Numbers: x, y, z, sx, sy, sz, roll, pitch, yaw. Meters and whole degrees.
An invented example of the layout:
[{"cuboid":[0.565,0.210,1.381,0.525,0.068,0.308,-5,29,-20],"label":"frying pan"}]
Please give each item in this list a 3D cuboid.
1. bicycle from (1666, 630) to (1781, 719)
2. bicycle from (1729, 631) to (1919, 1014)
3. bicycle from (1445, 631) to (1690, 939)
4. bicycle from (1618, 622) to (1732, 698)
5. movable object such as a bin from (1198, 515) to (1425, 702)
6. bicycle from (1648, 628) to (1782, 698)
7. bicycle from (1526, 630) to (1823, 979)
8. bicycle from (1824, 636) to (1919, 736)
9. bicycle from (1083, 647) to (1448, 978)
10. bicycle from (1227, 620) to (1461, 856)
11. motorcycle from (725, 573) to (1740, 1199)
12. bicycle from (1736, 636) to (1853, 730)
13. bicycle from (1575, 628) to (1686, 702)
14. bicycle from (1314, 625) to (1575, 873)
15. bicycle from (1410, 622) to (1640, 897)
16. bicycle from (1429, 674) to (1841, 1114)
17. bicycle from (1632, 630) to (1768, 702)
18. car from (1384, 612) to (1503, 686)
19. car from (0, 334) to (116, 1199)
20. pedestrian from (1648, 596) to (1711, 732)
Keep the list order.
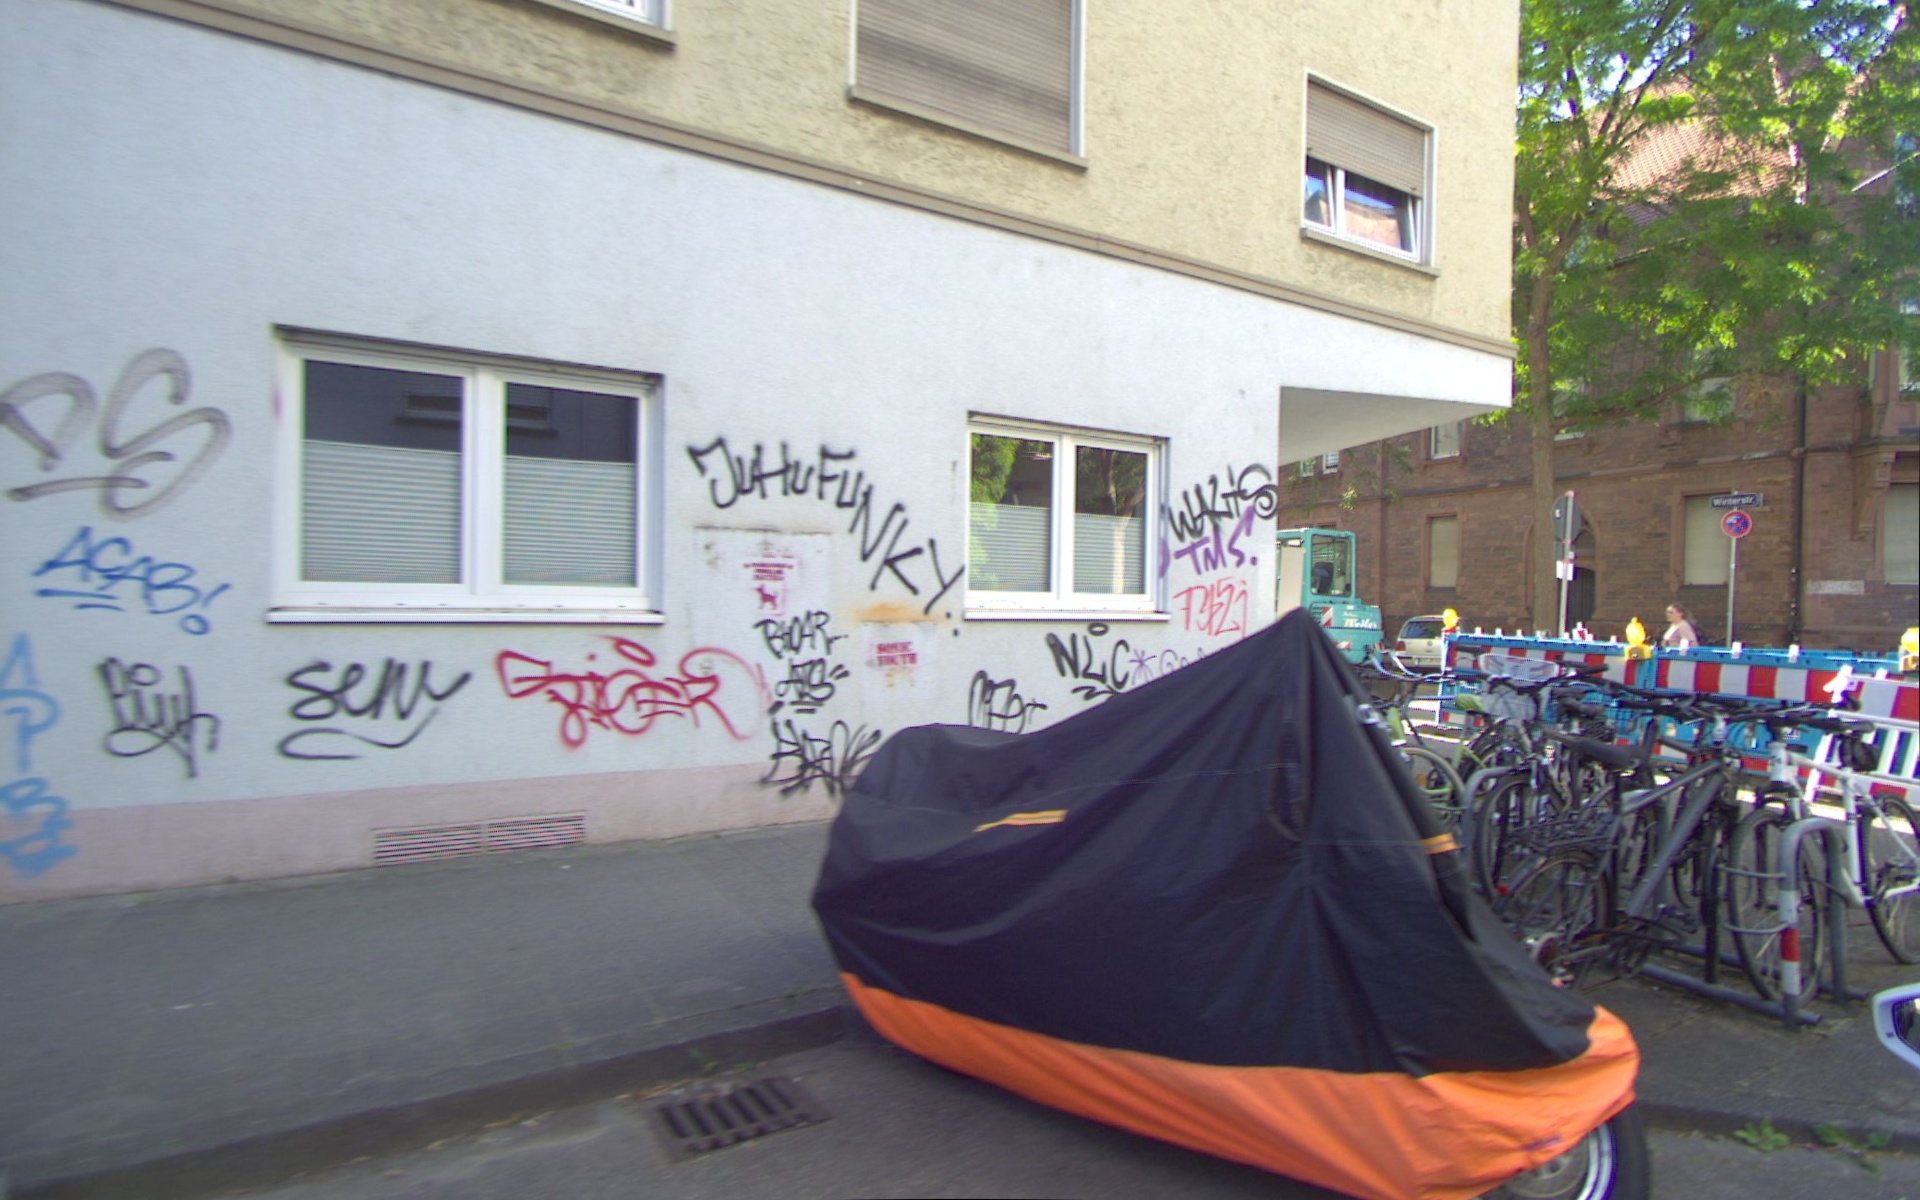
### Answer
[{"cuboid":[12.893,1.211,16.939,2.416,1.339,0.679,-1,1,-30],"label":"bicycle"},{"cuboid":[3.595,0.772,3.972,1.488,1.244,0.397,-1,1,-33],"label":"bicycle"},{"cuboid":[2.927,0.795,4.785,1.536,1.244,0.361,-1,1,-33],"label":"bicycle"},{"cuboid":[12.513,1.015,17.557,2.416,1.196,0.679,-1,1,-30],"label":"bicycle"},{"cuboid":[5.456,0.134,15.827,2.043,2.635,2.743,1,0,-26],"label":"movable object such as a bin"},{"cuboid":[14.384,1.173,19.190,0.677,1.196,1.954,-1,1,-29],"label":"bicycle"},{"cuboid":[3.190,0.782,4.414,1.853,1.244,0.397,-1,1,-33],"label":"bicycle"},{"cuboid":[13.901,1.258,15.150,2.117,1.339,0.679,-1,1,-30],"label":"bicycle"},{"cuboid":[1.417,0.817,4.462,1.854,1.171,0.542,1,0,-36],"label":"bicycle"},{"cuboid":[2.409,0.770,6.189,1.797,1.244,0.397,-1,1,-35],"label":"bicycle"},{"cuboid":[0.561,0.688,2.830,2.477,1.502,0.901,1,0,33],"label":"motorcycle"},{"cuboid":[13.444,1.291,16.160,2.416,1.339,0.679,-1,1,-30],"label":"bicycle"},{"cuboid":[12.163,1.151,18.193,2.416,1.196,0.679,-1,1,-30],"label":"bicycle"},{"cuboid":[2.933,0.801,5.979,2.007,1.244,0.397,-1,1,-32],"label":"bicycle"},{"cuboid":[3.012,0.760,5.285,1.680,1.244,0.293,-1,1,-32],"label":"bicycle"},{"cuboid":[2.325,0.867,3.398,1.646,1.155,0.423,1,3,-30],"label":"bicycle"},{"cuboid":[13.768,1.202,18.743,0.677,1.196,1.953,-1,1,-30],"label":"bicycle"},{"cuboid":[11.134,1.043,22.980,1.829,1.503,4.258,1,0,34],"label":"car"},{"cuboid":[-3.249,0.482,0.369,4.291,1.790,1.807,1,0,-34],"label":"car"},{"cuboid":[9.599,0.840,13.403,0.552,1.764,0.520,1,0,-35],"label":"pedestrian"}]
